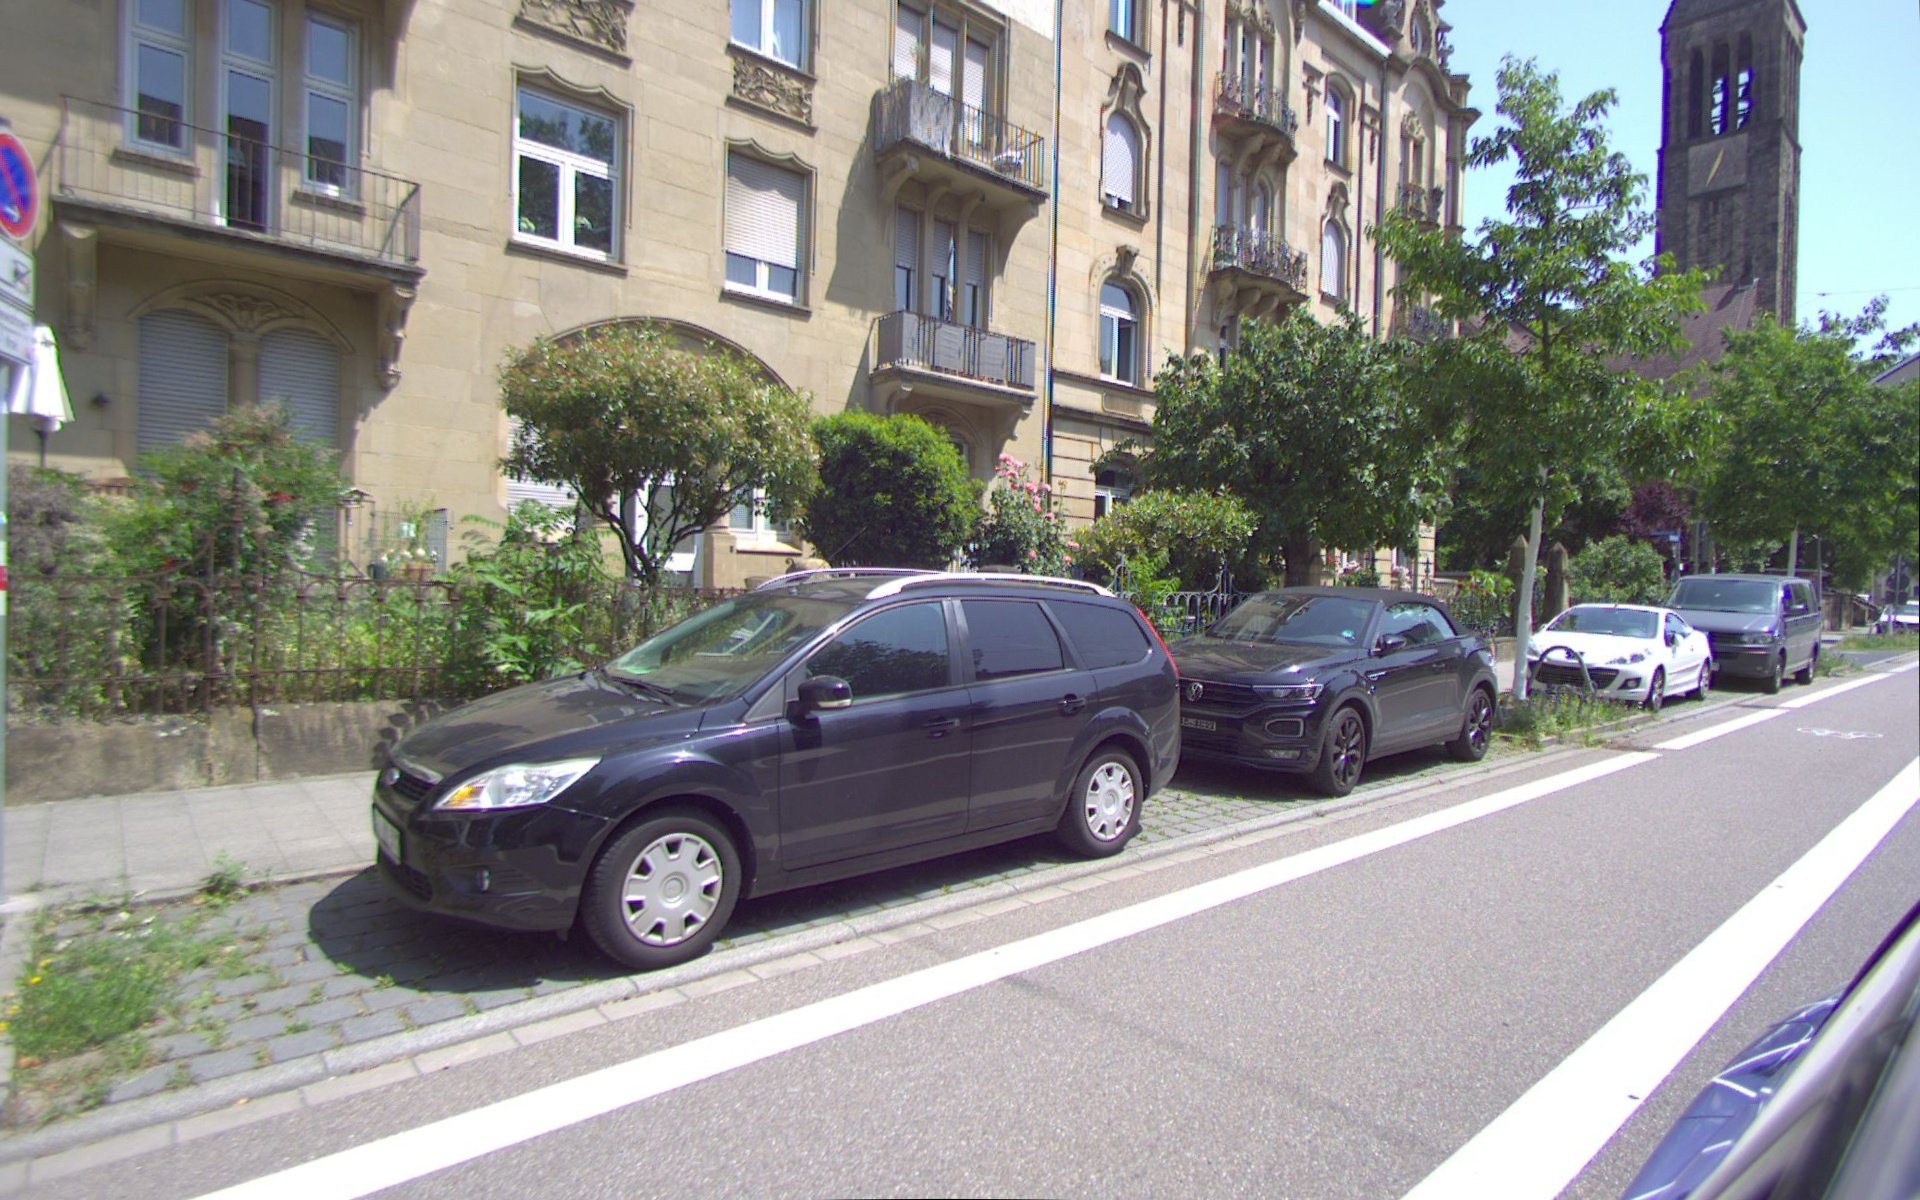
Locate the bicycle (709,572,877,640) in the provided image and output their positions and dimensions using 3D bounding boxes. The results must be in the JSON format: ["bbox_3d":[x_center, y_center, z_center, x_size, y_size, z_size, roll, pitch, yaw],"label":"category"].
[{"bbox_3d":[-2.557,0.082,15.862,2.712,0.998,0.584,0,1,-42],"label":"bicycle"}]

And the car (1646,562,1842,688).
[{"bbox_3d":[14.311,0.383,18.374,4.752,1.971,1.883,0,2,-41],"label":"car"}]

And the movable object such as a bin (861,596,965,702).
[{"bbox_3d":[-0.535,0.522,11.430,0.815,1.082,0.804,0,4,-41],"label":"movable object such as a bin"}]

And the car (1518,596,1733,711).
[{"bbox_3d":[9.769,0.686,14.753,3.930,1.423,1.614,0,1,-41],"label":"car"}]

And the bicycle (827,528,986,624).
[{"bbox_3d":[-0.759,-0.341,15.351,2.644,1.349,0.565,0,1,-43],"label":"bicycle"}]

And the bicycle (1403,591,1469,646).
[{"bbox_3d":[8.235,0.305,17.482,1.607,0.891,0.441,0,1,-42],"label":"bicycle"}]

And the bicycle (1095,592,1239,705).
[{"bbox_3d":[2.565,0.550,12.395,2.055,1.277,0.593,0,1,-41],"label":"bicycle"}]

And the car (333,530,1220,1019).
[{"bbox_3d":[-0.619,0.542,5.316,4.328,1.555,1.732,0,1,-42],"label":"car"}]

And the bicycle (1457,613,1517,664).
[{"bbox_3d":[9.913,0.705,19.012,1.607,0.891,0.441,0,1,-42],"label":"bicycle"}]

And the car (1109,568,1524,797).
[{"bbox_3d":[3.229,0.543,8.785,3.943,1.550,1.670,0,1,-41],"label":"car"}]

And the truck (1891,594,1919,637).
[{"bbox_3d":[36.820,0.586,38.556,4.392,1.545,1.790,0,1,-45],"label":"truck"}]

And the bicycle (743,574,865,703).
[{"bbox_3d":[-1.617,0.347,10.271,0.337,1.089,1.694,1,5,-40],"label":"bicycle"}]
